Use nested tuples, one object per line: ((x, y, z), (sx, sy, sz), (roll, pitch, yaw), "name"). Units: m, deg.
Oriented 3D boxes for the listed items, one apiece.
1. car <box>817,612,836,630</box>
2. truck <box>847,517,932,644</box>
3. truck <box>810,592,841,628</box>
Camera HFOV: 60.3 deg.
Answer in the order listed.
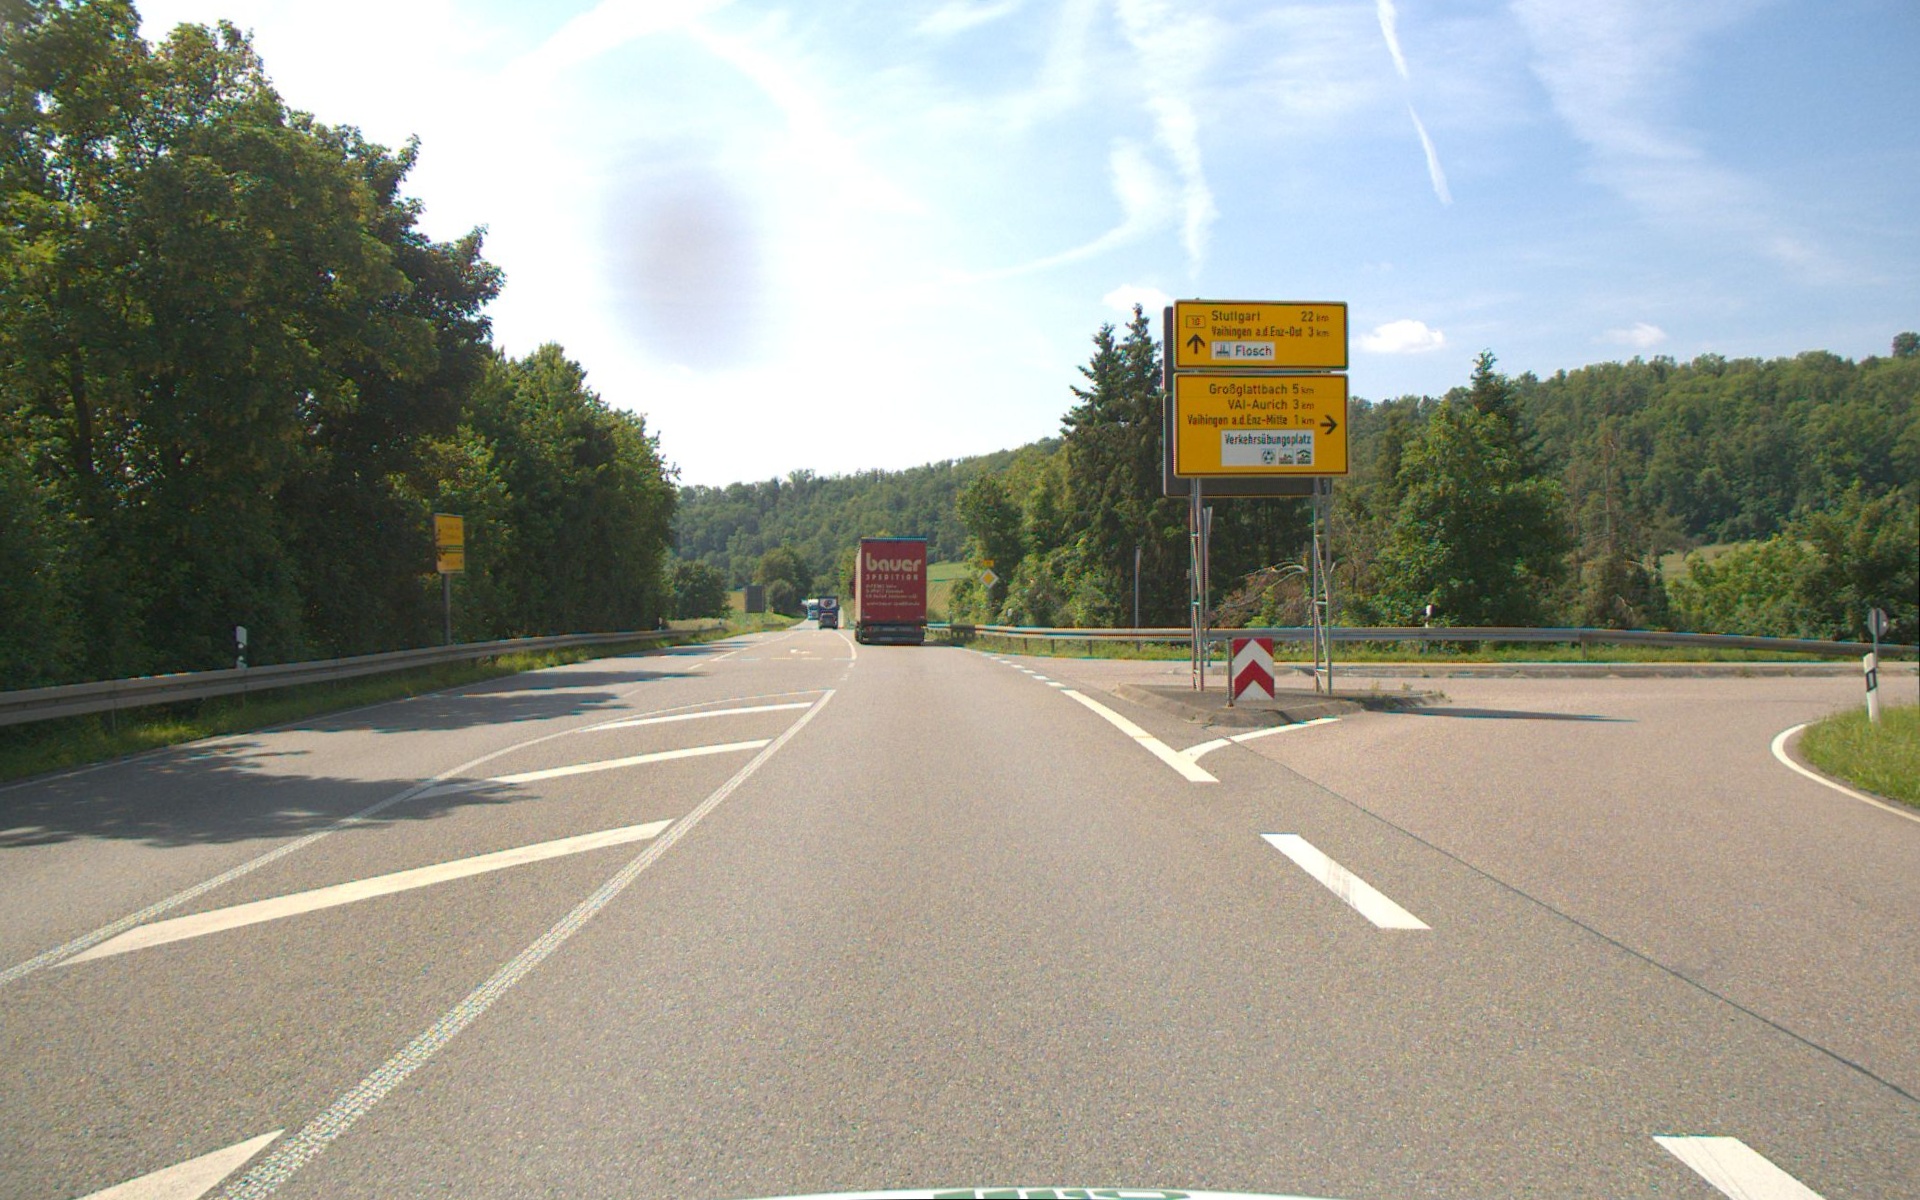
((-14.812, 2.344, 183.428), (1.955, 1.842, 3.995), (2, -1, -6), "car")
((-3.098, -0.669, 68.447), (3.110, 4.706, 13.531), (0, 0, -4), "truck")
((-17.525, 1.351, 214.618), (3.829, 4.446, 13.276), (2, -1, -5), "truck")
